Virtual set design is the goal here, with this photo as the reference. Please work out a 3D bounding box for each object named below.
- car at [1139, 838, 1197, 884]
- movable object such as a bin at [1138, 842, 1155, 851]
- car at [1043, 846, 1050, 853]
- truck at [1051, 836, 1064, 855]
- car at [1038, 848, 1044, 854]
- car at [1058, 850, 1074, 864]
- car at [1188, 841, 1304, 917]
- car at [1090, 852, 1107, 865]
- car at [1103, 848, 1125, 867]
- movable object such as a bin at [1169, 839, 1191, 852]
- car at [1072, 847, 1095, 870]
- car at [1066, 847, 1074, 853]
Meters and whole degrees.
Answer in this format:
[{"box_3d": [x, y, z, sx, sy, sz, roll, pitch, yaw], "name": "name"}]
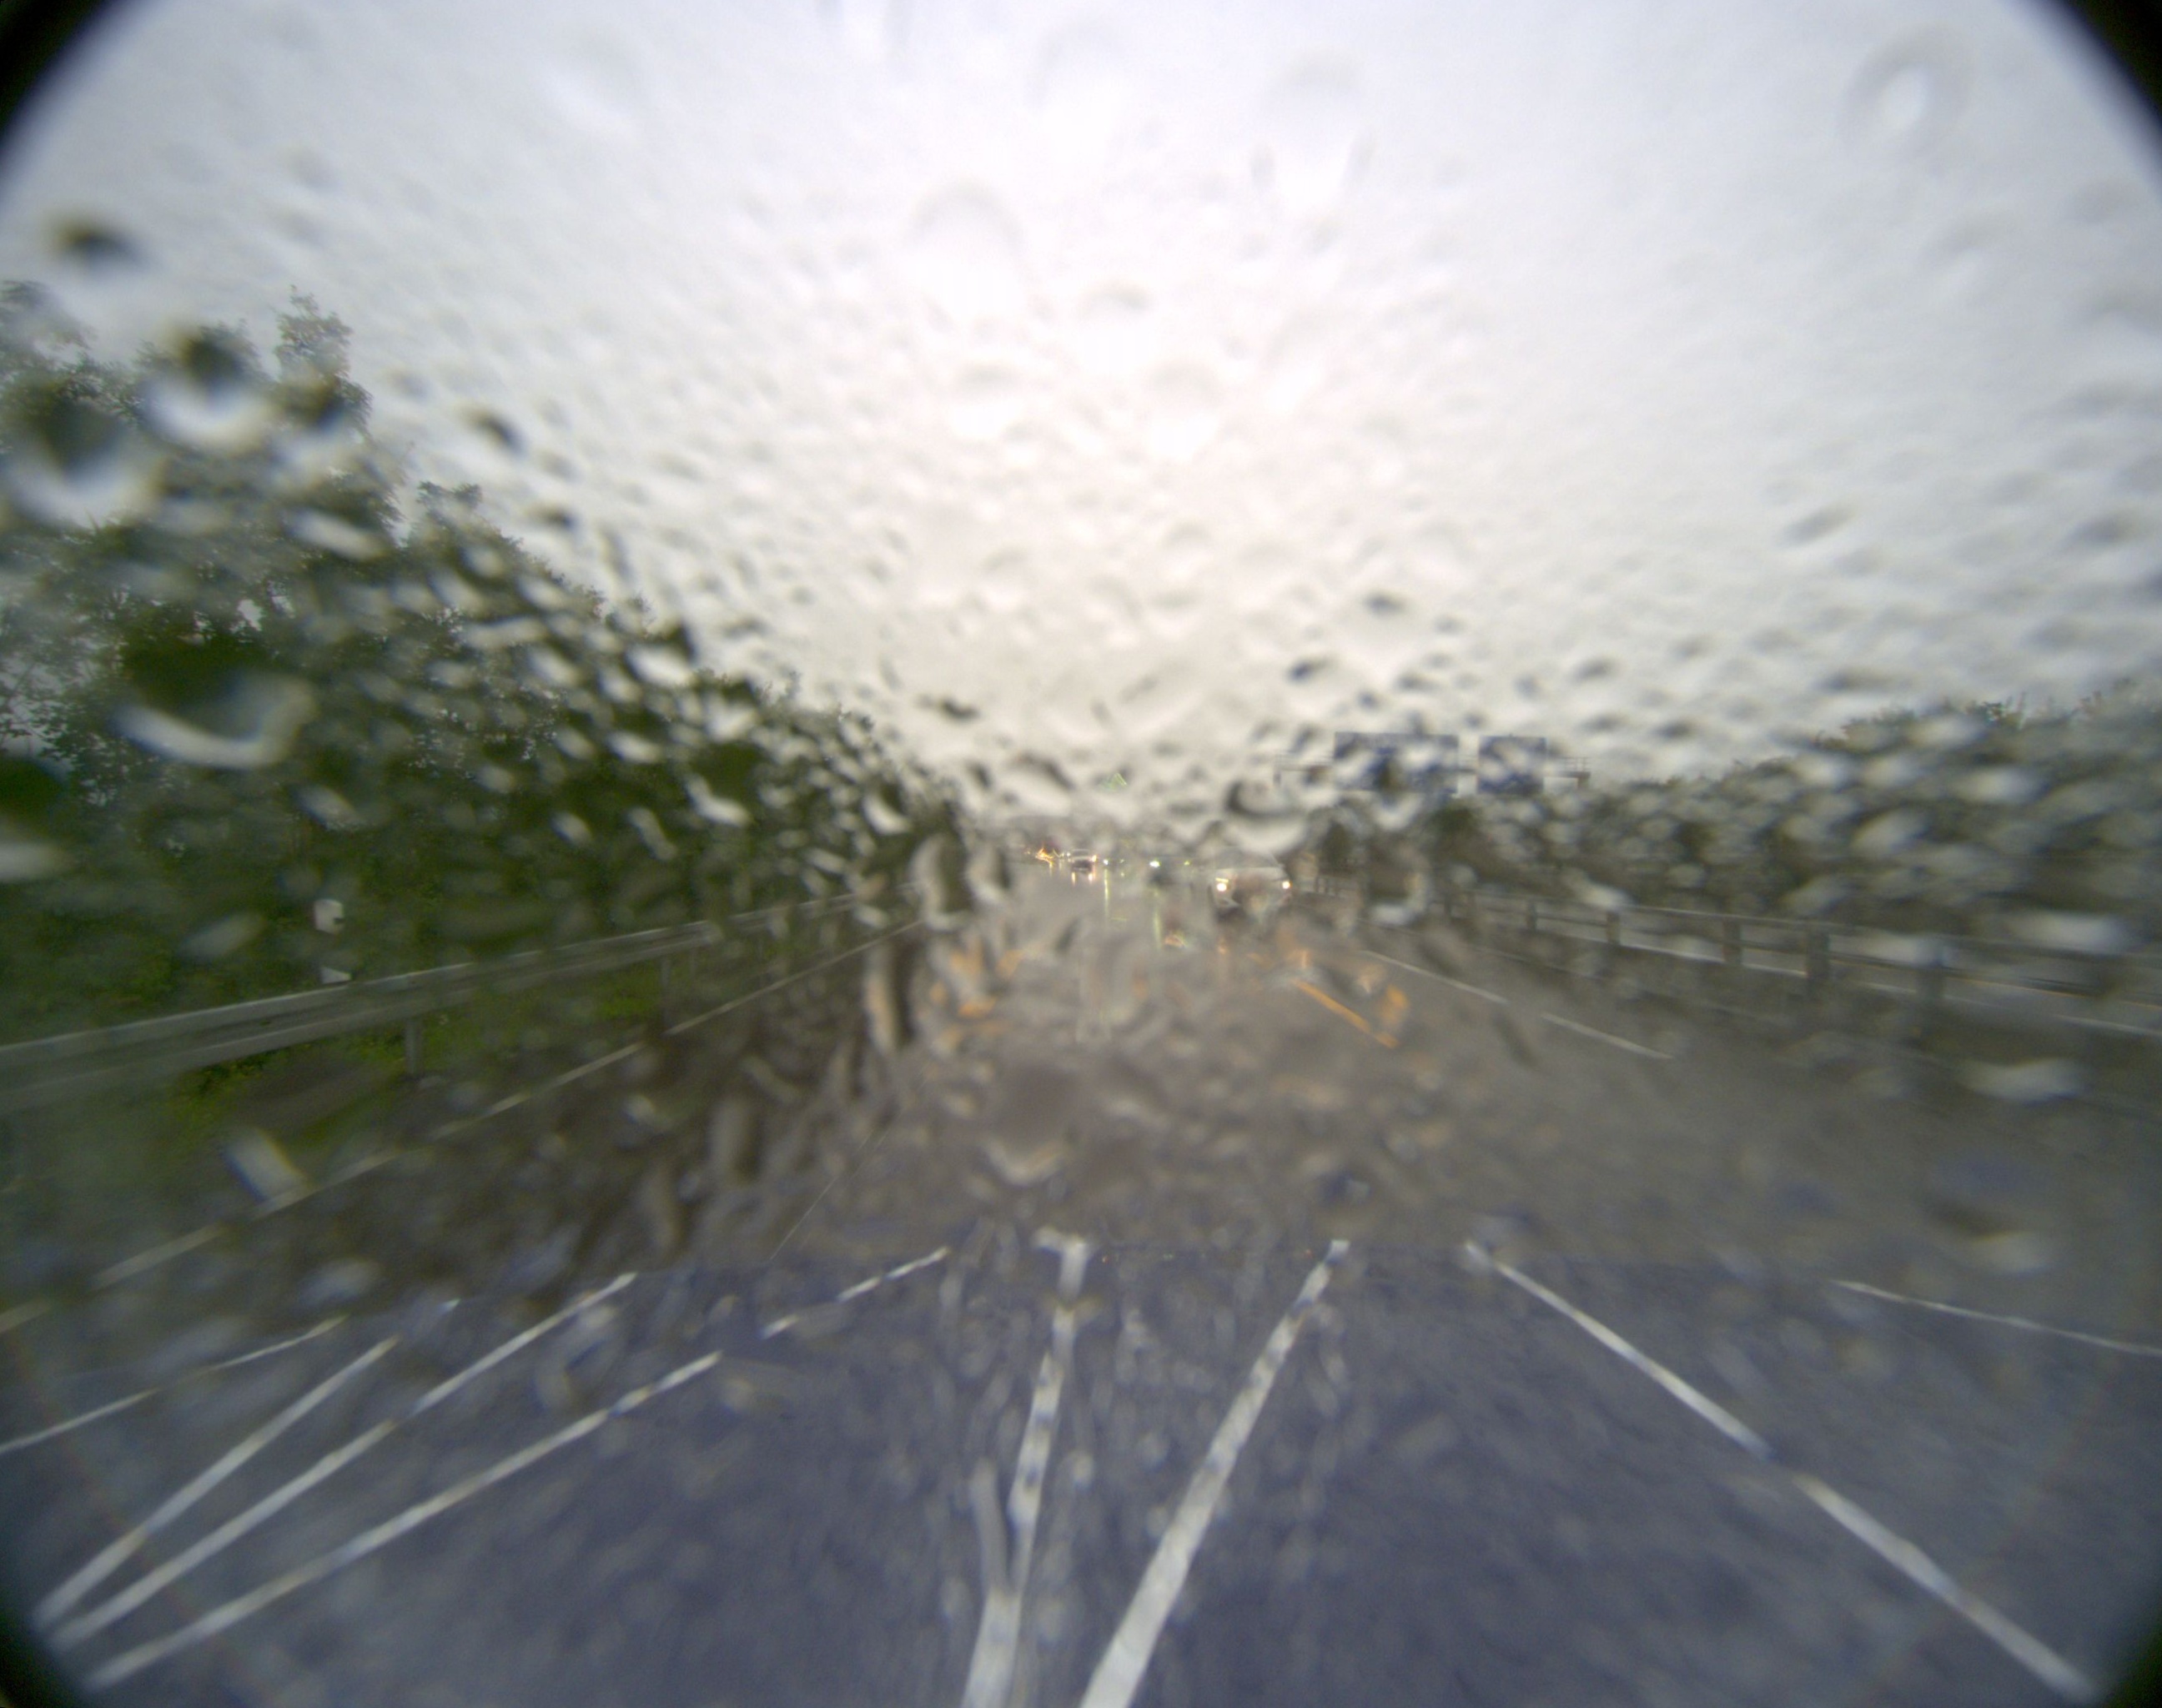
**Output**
[{"box_3d": [4.146, 0.296, 37.137, 2.211, 2.002, 5.563, -2, 1, 1], "name": "car"}, {"box_3d": [17.949, -2.080, 208.483, 3.449, 2.281, 5.096, -2, 1, -9], "name": "movable object such as a bin"}, {"box_3d": [-9.455, -1.311, 209.762, 1.834, 1.740, 3.998, -2, 1, -3], "name": "car"}, {"box_3d": [-5.112, -1.893, 166.421, 2.484, 4.061, 8.700, -2, 1, -3], "name": "truck"}, {"box_3d": [-12.394, -0.965, 237.163, 1.752, 1.579, 3.998, -2, 1, -3], "name": "car"}, {"box_3d": [-1.813, 0.349, 93.692, 1.881, 1.656, 3.999, -2, 1, -1], "name": "car"}, {"box_3d": [3.854, 0.568, 18.521, 1.978, 1.586, 4.310, -1, -1, 2], "name": "car"}, {"box_3d": [2.262, 0.516, 100.677, 1.845, 1.586, 3.998, -2, 1, -3], "name": "car"}, {"box_3d": [3.187, 0.317, 74.512, 1.695, 1.740, 3.998, -2, 1, -3], "name": "car"}, {"box_3d": [21.796, -1.843, 167.264, 3.775, 2.782, 6.327, -2, 1, -2], "name": "movable object such as a bin"}, {"box_3d": [0.222, 0.371, 71.082, 1.882, 2.002, 3.998, -2, 1, -3], "name": "car"}, {"box_3d": [-2.778, -1.003, 185.528, 1.752, 1.579, 3.998, -2, 1, -3], "name": "car"}]
